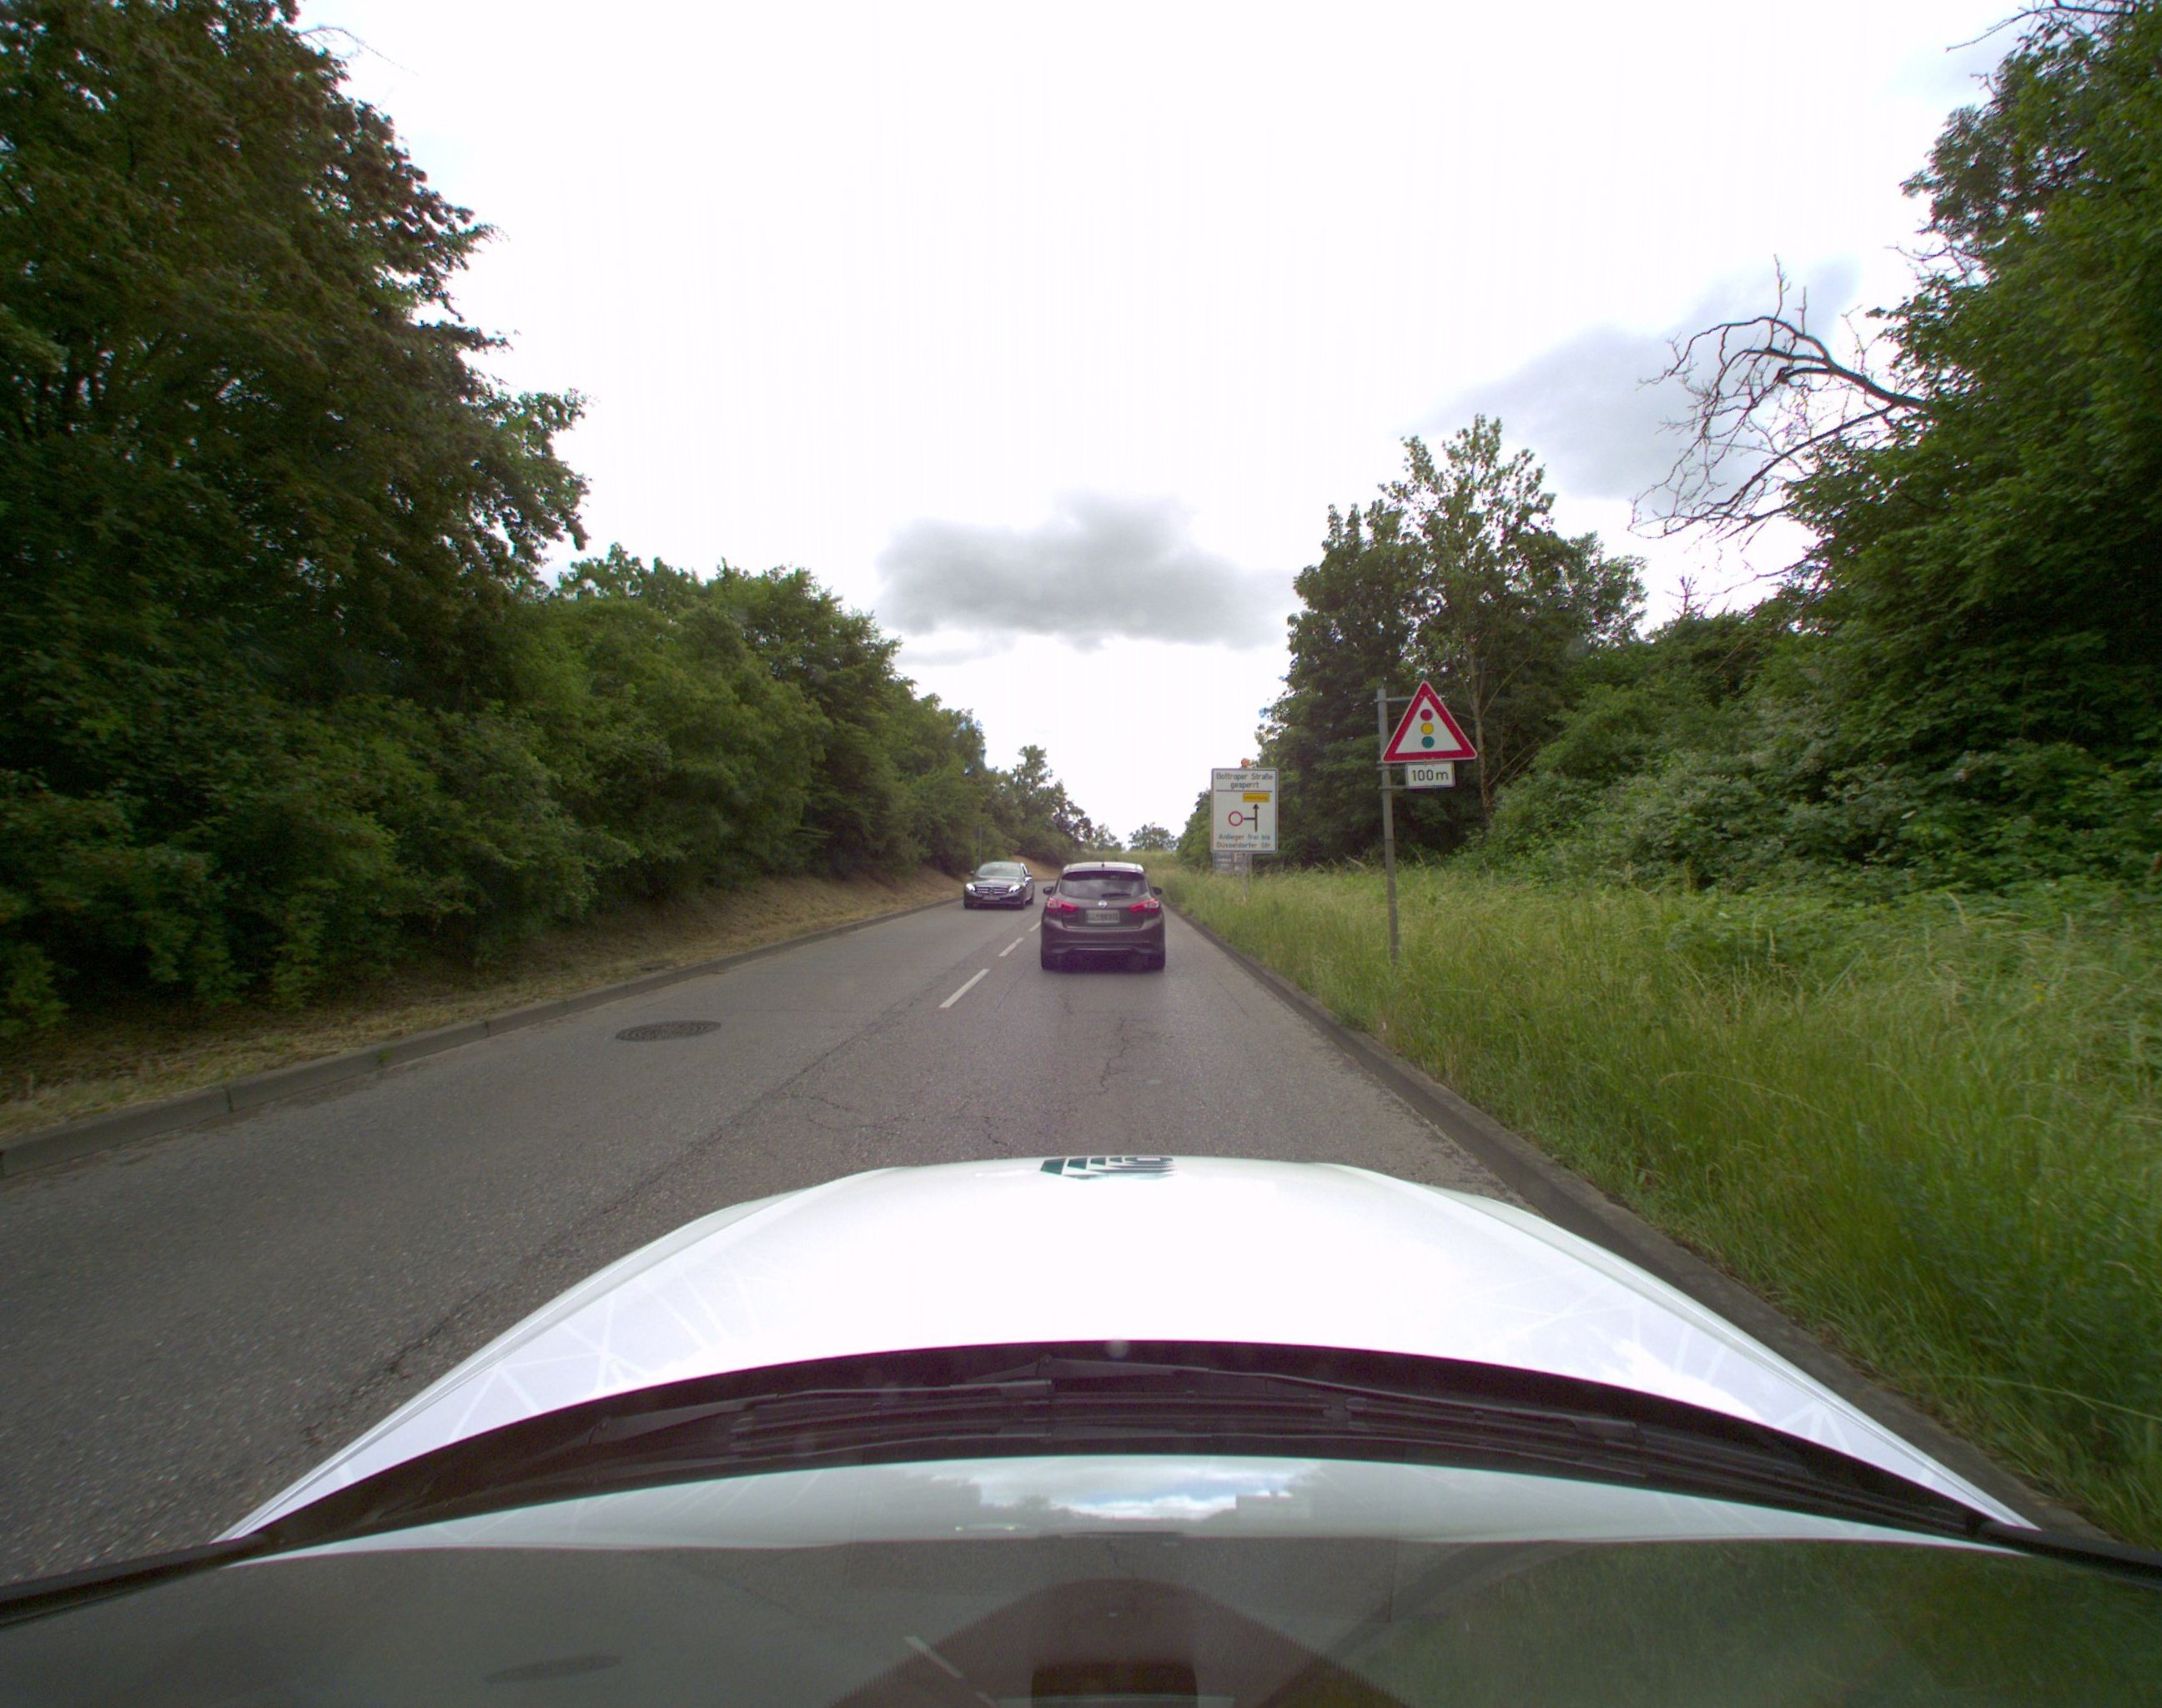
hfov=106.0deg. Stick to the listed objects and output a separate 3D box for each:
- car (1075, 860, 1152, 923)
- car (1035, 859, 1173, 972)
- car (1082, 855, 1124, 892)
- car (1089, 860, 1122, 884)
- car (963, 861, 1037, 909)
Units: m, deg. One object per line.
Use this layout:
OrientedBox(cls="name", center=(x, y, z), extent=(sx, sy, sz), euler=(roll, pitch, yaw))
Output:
OrientedBox(cls="car", center=(0.778, 0.926, 22.011), extent=(1.839, 1.493, 4.225), euler=(-1, 0, -1))
OrientedBox(cls="car", center=(0.280, 0.836, 12.918), extent=(1.839, 1.493, 3.998), euler=(-1, 0, -1))
OrientedBox(cls="car", center=(0.994, 0.834, 35.971), extent=(1.714, 1.494, 3.578), euler=(2, 0, 2))
OrientedBox(cls="car", center=(1.433, 1.041, 48.787), extent=(1.792, 1.398, 3.998), euler=(0, -1, -1))
OrientedBox(cls="car", center=(-2.528, 0.941, 26.418), extent=(1.824, 1.405, 4.433), euler=(-1, 0, 1))
